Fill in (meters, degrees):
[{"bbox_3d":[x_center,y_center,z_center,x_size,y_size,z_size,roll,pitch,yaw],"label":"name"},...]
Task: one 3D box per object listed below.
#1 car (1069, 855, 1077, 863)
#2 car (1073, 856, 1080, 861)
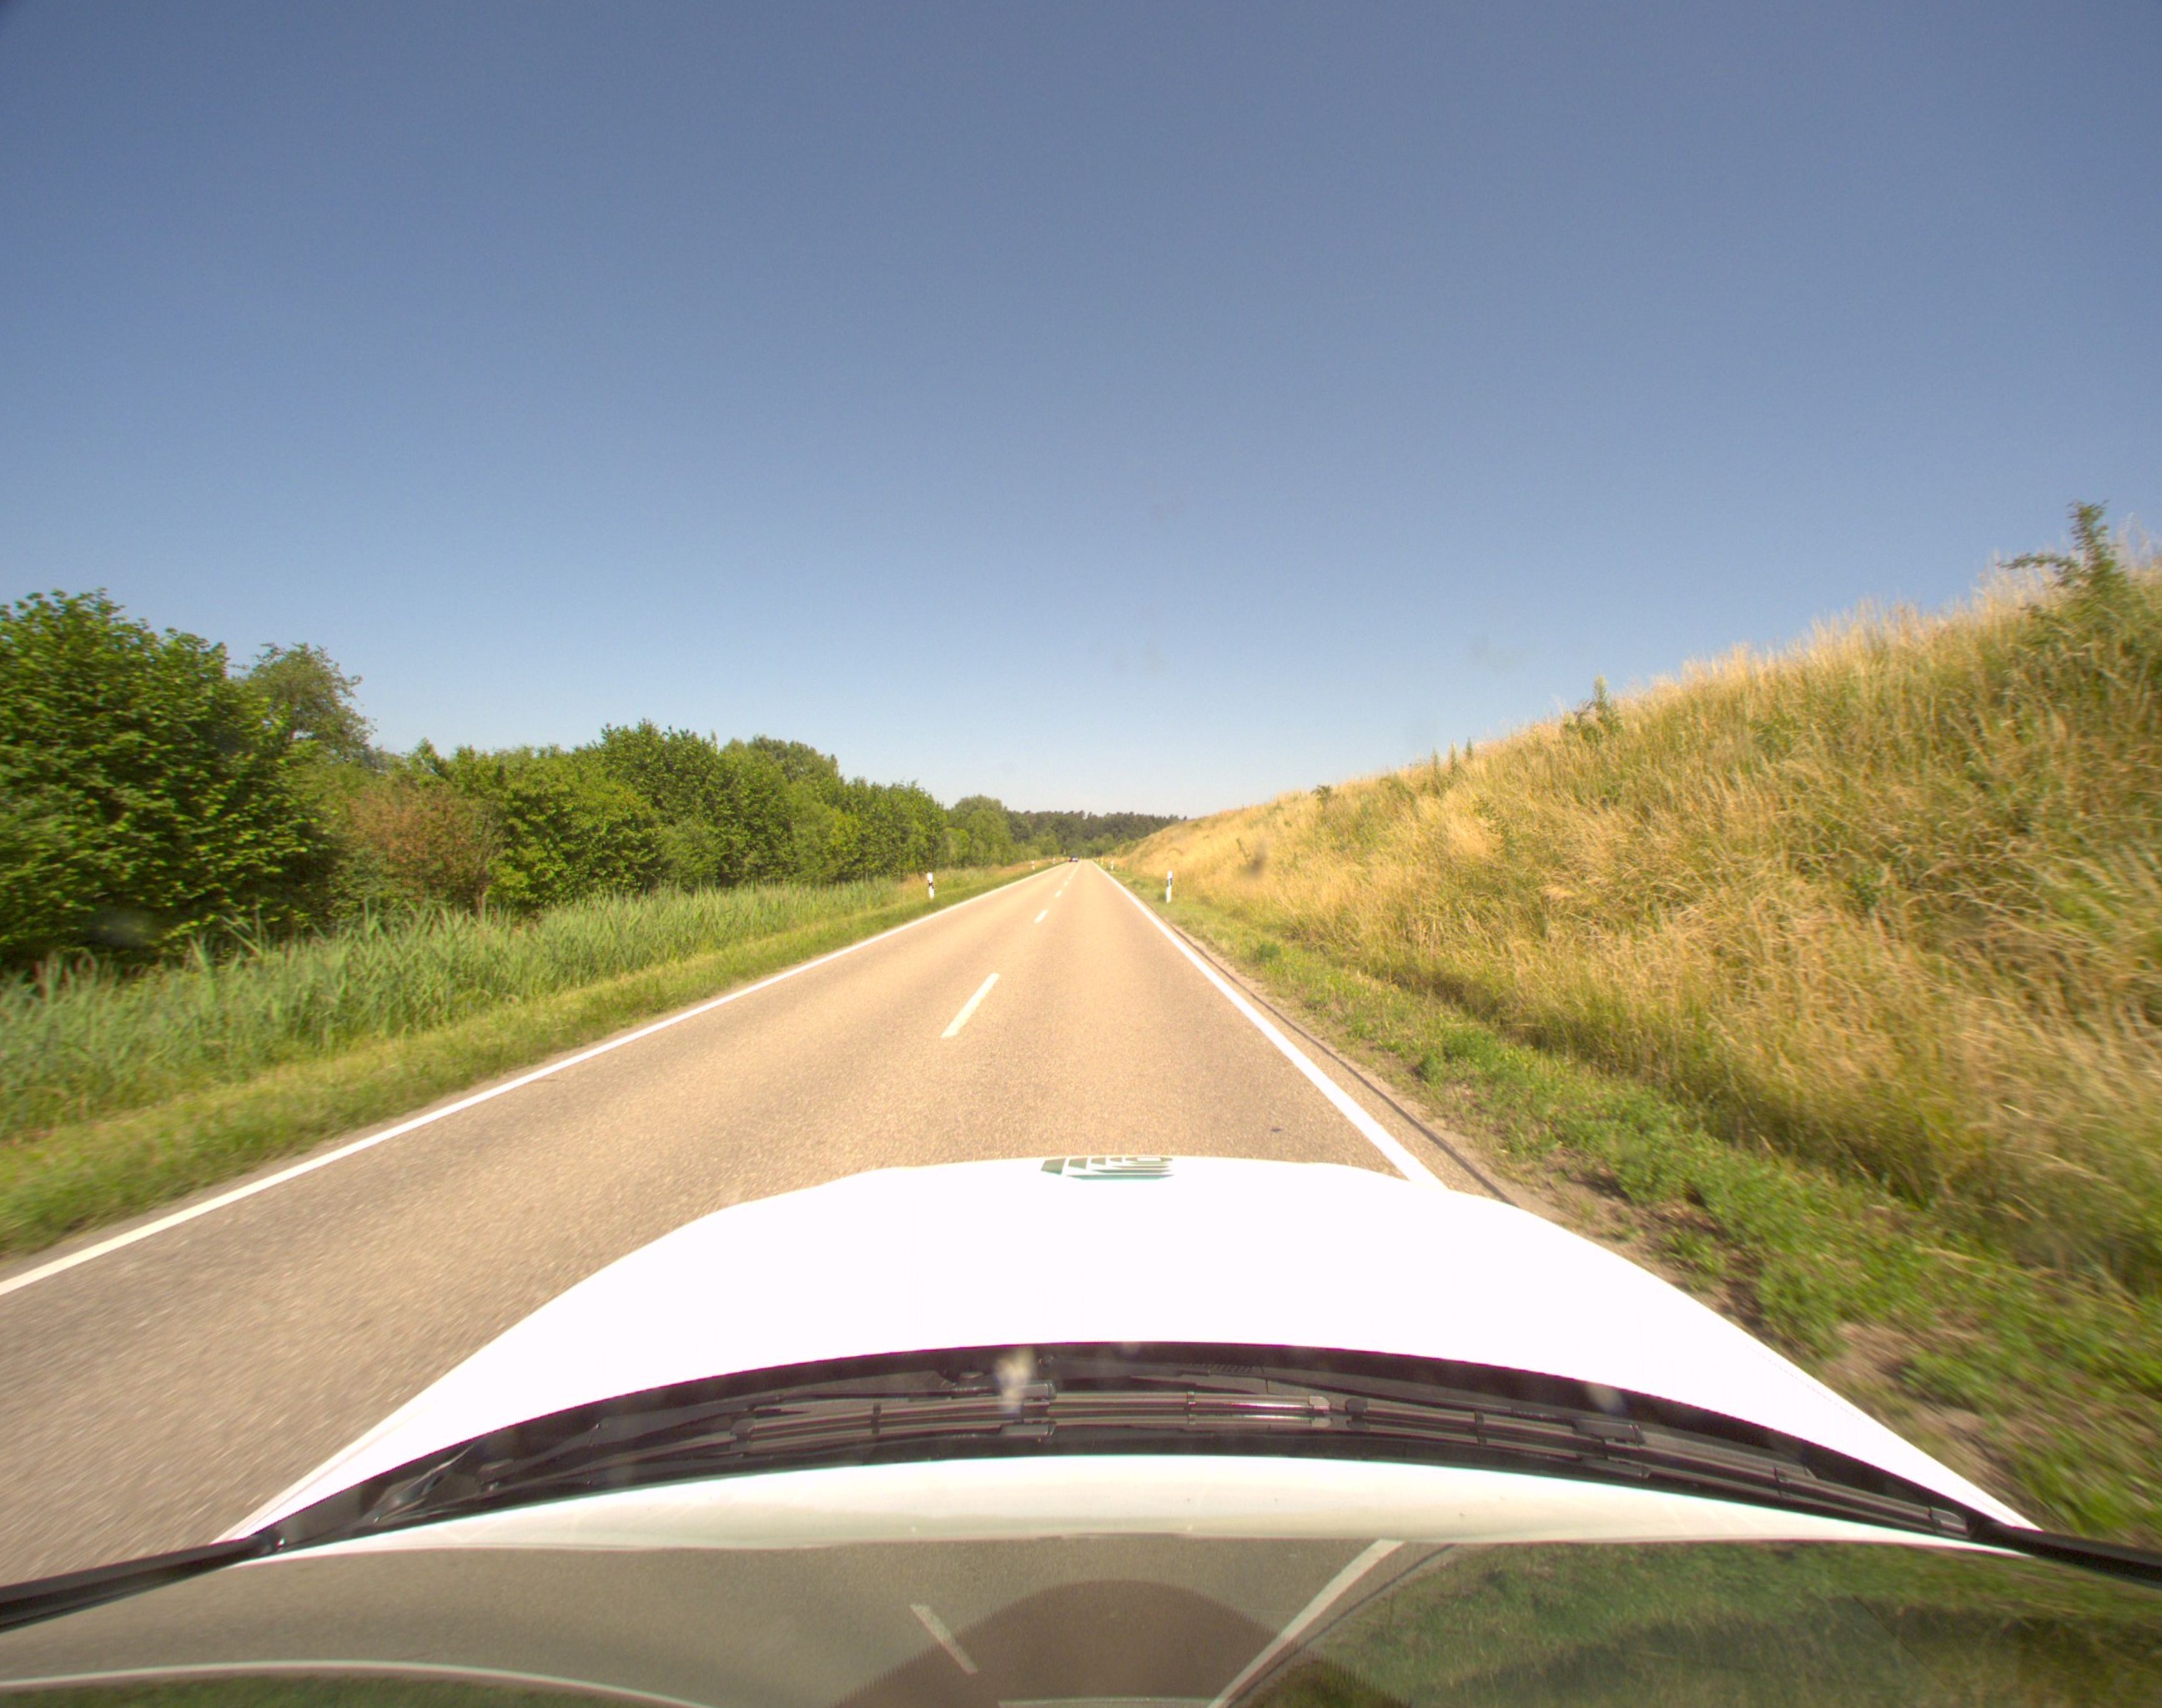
[{"bbox_3d":[-1.759,1.051,180.977,1.711,1.647,3.914,0,0,0],"label":"car"},{"bbox_3d":[-1.217,1.126,207.783,1.717,1.354,3.999,0,-1,0],"label":"car"}]
